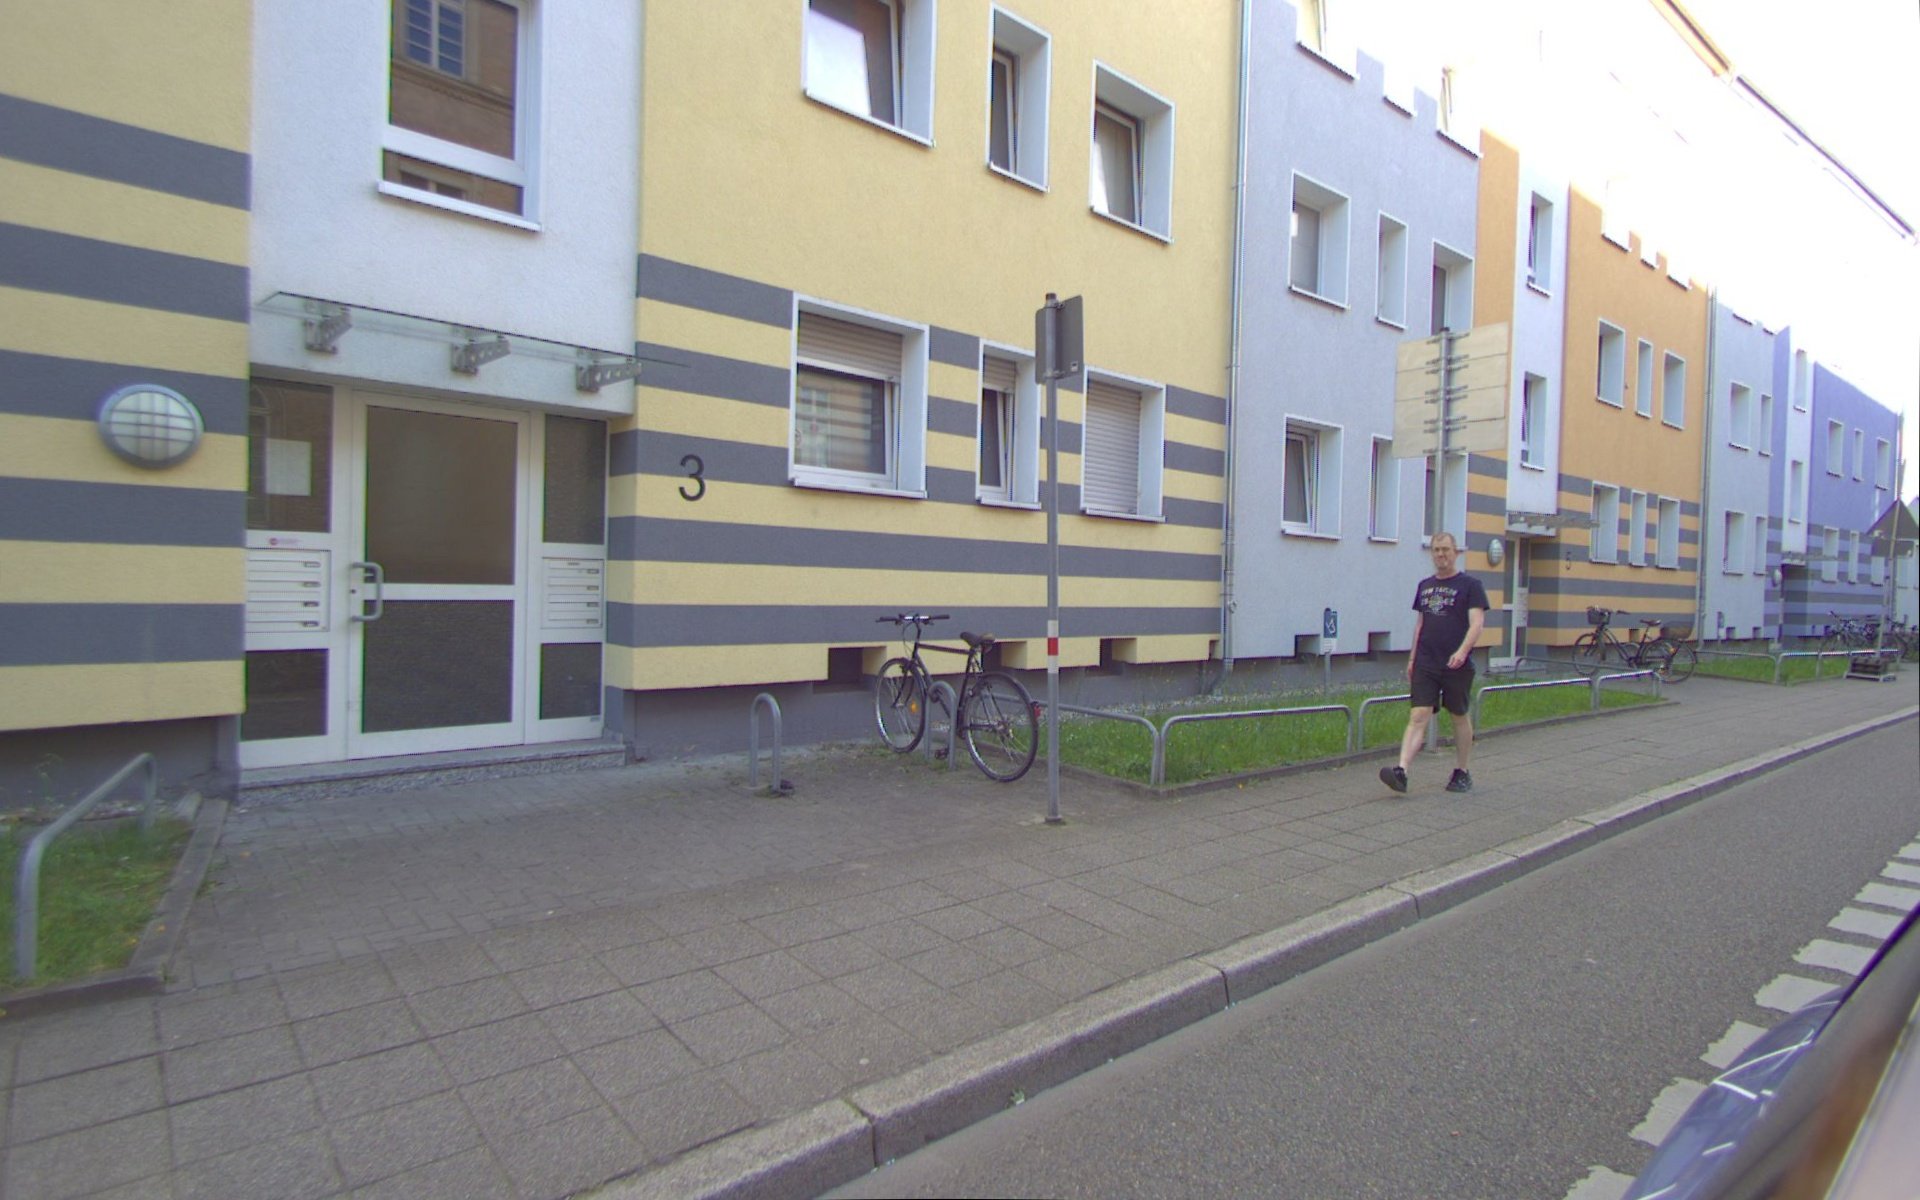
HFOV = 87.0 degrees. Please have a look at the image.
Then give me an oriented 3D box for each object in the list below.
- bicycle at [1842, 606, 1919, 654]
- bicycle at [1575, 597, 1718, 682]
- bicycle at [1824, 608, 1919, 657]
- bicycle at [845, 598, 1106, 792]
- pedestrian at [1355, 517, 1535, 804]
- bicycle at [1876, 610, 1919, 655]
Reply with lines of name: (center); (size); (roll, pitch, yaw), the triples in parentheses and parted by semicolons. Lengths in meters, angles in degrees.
bicycle: (23.244, 0.747, 25.267); (0.625, 1.095, 1.711); (1, 2, -40)
bicycle: (10.735, 0.580, 15.868); (0.625, 1.173, 1.709); (1, 3, -42)
bicycle: (22.275, 0.775, 24.672); (0.624, 1.058, 1.711); (1, 2, -39)
bicycle: (0.039, 0.575, 7.049); (0.625, 1.074, 1.946); (1, 3, -42)
pedestrian: (3.318, 0.369, 6.925); (0.898, 1.810, 0.646); (1, 4, -38)
bicycle: (24.162, 0.838, 25.341); (0.625, 1.048, 1.709); (1, 3, -42)
